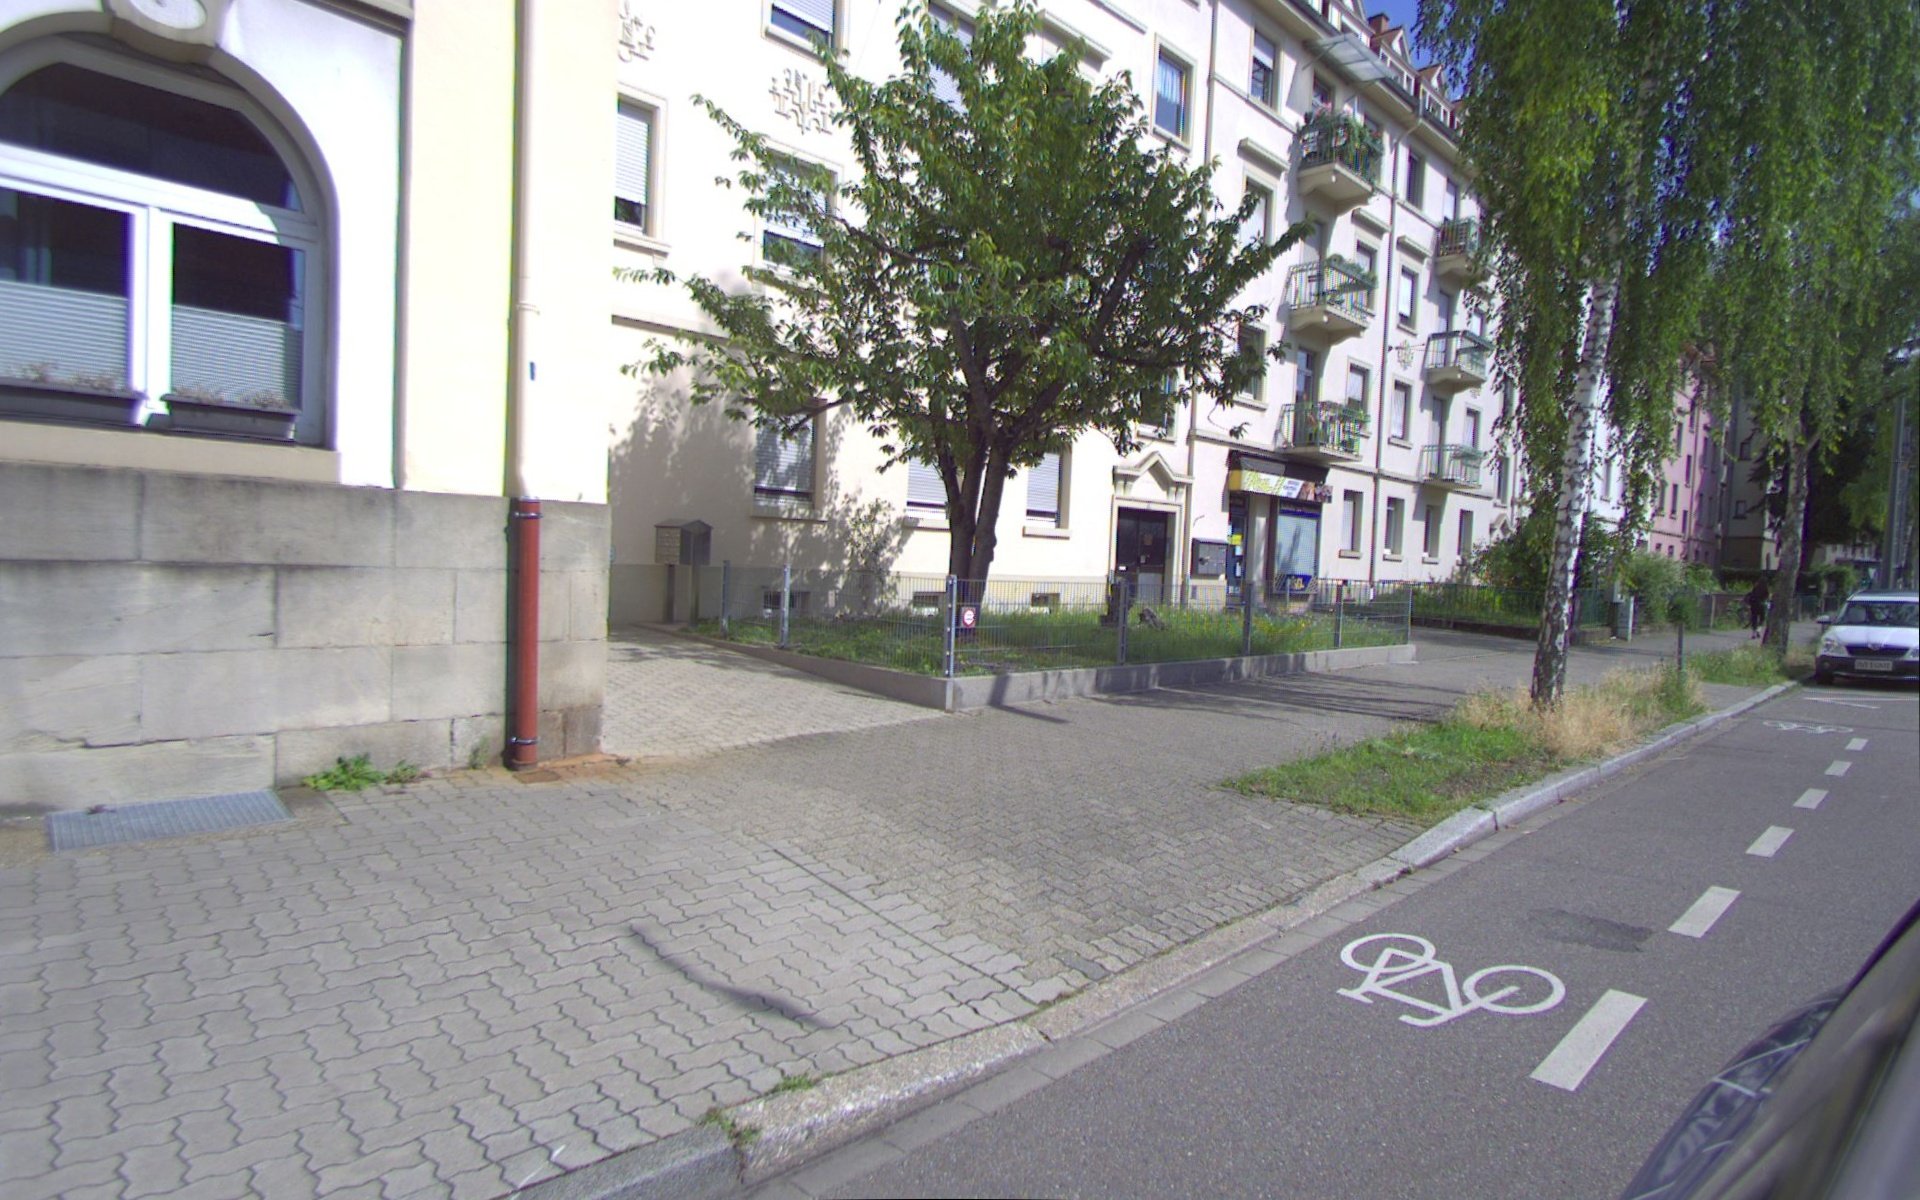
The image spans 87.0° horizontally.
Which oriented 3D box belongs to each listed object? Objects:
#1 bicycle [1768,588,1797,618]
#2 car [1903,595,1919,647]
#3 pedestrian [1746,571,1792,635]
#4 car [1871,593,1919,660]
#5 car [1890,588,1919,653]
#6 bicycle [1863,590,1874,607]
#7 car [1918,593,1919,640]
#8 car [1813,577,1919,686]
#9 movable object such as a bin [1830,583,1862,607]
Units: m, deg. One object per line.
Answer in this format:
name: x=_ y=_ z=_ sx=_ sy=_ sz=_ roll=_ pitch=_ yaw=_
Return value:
bicycle: x=31.368 y=0.129 z=38.587 sx=2.145 sy=1.090 sz=0.472 roll=0 pitch=4 yaw=-42
car: x=28.712 y=0.584 z=29.503 sx=3.780 sy=1.471 sz=1.590 roll=0 pitch=0 yaw=-44
pedestrian: x=22.757 y=0.083 z=28.468 sx=0.678 sy=1.703 sz=0.732 roll=1 pitch=5 yaw=-40
car: x=22.075 y=0.578 z=23.109 sx=3.733 sy=1.435 sz=1.674 roll=0 pitch=1 yaw=-44
car: x=25.238 y=0.514 z=26.231 sx=1.494 sy=1.599 sz=3.698 roll=2 pitch=1 yaw=45
bicycle: x=59.318 y=-0.106 z=66.101 sx=1.457 sy=1.034 sz=0.350 roll=0 pitch=6 yaw=-45
car: x=32.247 y=0.520 z=32.771 sx=3.853 sy=1.471 sz=1.621 roll=0 pitch=0 yaw=-44
car: x=15.875 y=0.469 z=17.041 sx=3.930 sy=1.650 sz=1.724 roll=0 pitch=1 yaw=-41
movable object such as a bin: x=58.000 y=-0.328 z=66.214 sx=1.966 sy=1.510 sz=1.304 roll=0 pitch=4 yaw=-43
